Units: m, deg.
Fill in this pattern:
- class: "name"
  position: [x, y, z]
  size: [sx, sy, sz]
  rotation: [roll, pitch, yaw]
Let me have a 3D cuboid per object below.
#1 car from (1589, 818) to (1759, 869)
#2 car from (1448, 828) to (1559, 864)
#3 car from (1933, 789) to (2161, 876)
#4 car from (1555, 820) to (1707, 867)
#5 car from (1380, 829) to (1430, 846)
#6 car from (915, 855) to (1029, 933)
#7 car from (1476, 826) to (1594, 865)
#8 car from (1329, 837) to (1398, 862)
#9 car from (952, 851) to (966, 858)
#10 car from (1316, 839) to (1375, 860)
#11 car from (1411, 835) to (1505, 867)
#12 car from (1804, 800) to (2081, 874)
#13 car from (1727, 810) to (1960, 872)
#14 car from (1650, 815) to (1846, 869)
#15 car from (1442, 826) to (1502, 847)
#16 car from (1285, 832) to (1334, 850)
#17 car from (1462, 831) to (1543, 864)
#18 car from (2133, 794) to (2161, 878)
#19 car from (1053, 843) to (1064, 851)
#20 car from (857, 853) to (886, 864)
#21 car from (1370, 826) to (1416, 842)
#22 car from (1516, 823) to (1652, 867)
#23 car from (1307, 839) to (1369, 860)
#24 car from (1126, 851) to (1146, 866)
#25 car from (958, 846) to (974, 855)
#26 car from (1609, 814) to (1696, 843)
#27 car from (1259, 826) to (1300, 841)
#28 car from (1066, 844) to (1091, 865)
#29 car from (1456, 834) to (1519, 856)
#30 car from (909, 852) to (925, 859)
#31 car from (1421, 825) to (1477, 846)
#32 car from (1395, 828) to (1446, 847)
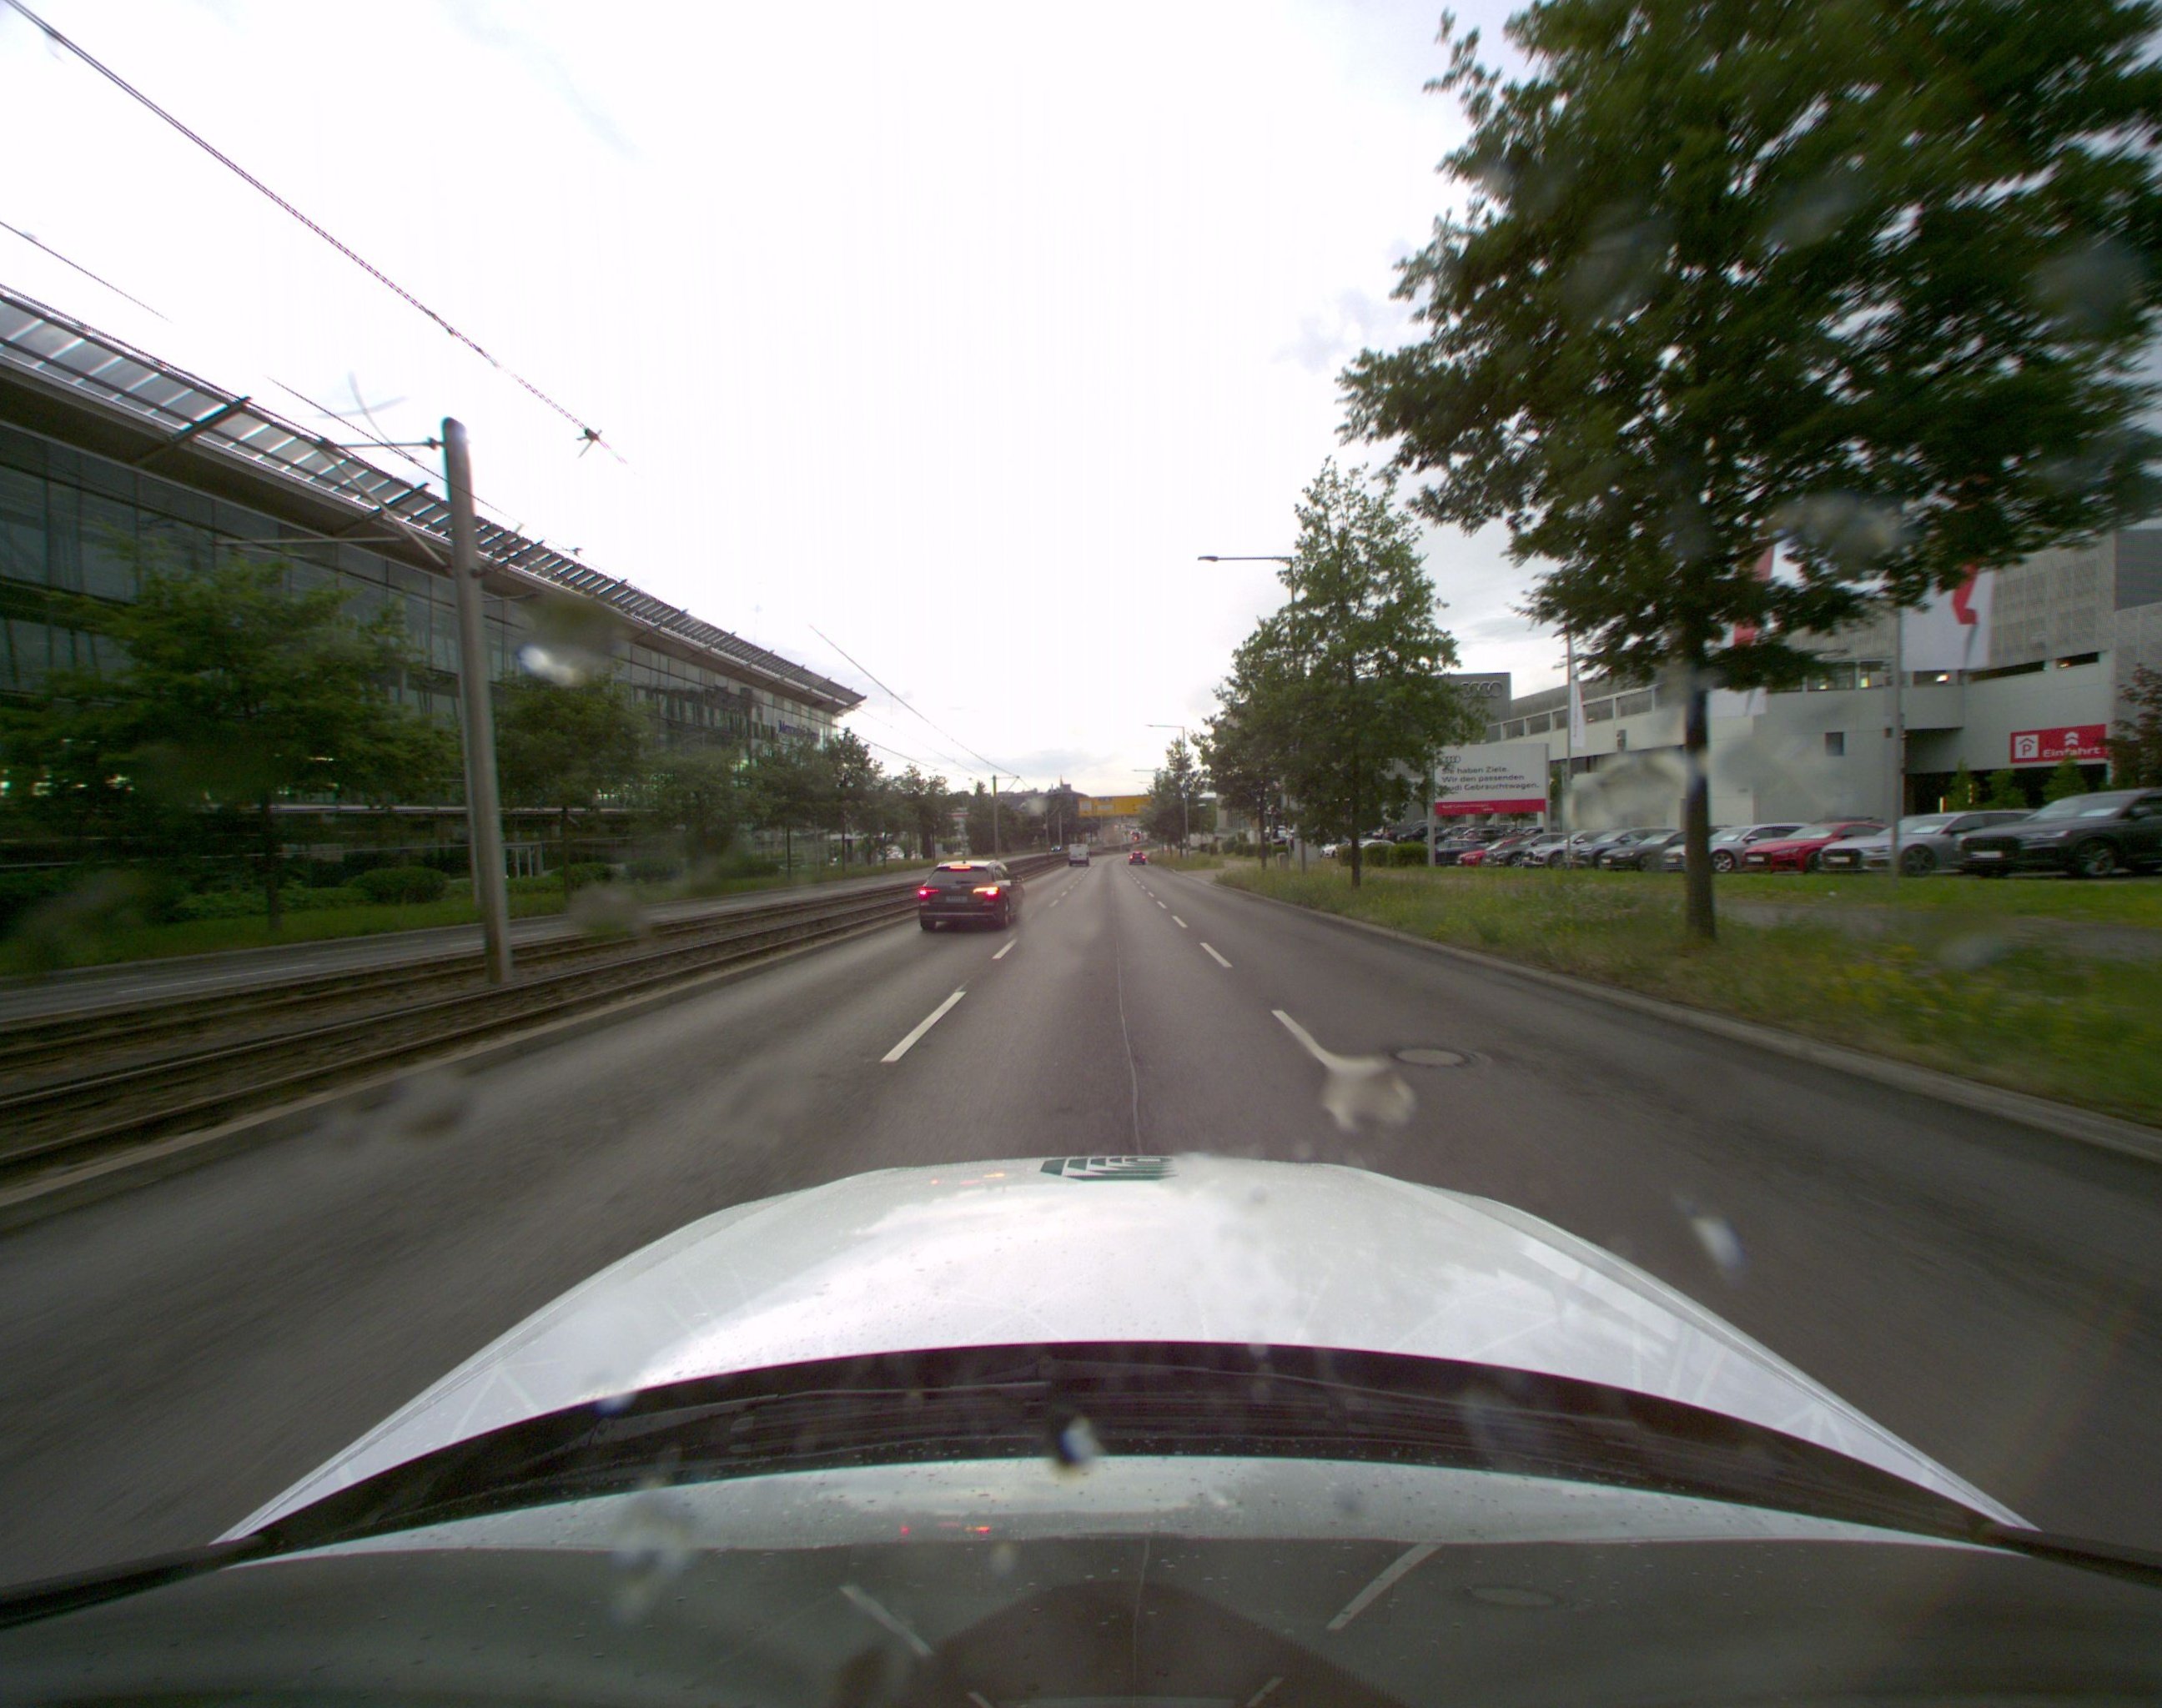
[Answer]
- class: "car"
  position: [20.427, -0.341, 28.186]
  size: [4.446, 1.456, 1.931]
  rotation: [-3, -1, 0]
- class: "car"
  position: [20.657, -0.365, 39.914]
  size: [4.451, 1.551, 1.929]
  rotation: [-2, -1, -4]
- class: "car"
  position: [20.093, -0.447, 16.049]
  size: [4.381, 1.500, 2.041]
  rotation: [-3, -1, 1]
- class: "car"
  position: [20.838, -0.373, 30.981]
  size: [4.446, 1.528, 1.931]
  rotation: [-3, -1, 0]
- class: "car"
  position: [31.311, -1.573, 78.749]
  size: [4.091, 1.574, 1.826]
  rotation: [-1, 1, 0]
- class: "car"
  position: [-2.265, 0.783, 18.137]
  size: [1.757, 1.463, 4.629]
  rotation: [0, 0, 2]
- class: "car"
  position: [20.420, -0.363, 36.726]
  size: [4.264, 1.593, 1.826]
  rotation: [-2, -1, -1]
- class: "car"
  position: [19.657, -0.288, 56.681]
  size: [4.101, 1.594, 1.944]
  rotation: [-1, -1, -7]
- class: "car"
  position: [-25.839, 0.090, 171.935]
  size: [2.002, 1.510, 3.969]
  rotation: [0, 0, -24]
- class: "car"
  position: [20.622, -0.335, 63.616]
  size: [4.091, 1.594, 1.692]
  rotation: [-1, -1, 0]
- class: "car"
  position: [20.369, -0.140, 44.145]
  size: [1.843, 1.593, 4.319]
  rotation: [-2, -1, -29]
- class: "car"
  position: [20.011, -0.365, 19.072]
  size: [4.381, 1.427, 1.891]
  rotation: [-3, -1, 1]
- class: "car"
  position: [20.320, -0.314, 21.865]
  size: [4.382, 1.348, 1.931]
  rotation: [-3, -1, 0]
- class: "car"
  position: [20.472, -0.354, 25.137]
  size: [4.446, 1.456, 1.931]
  rotation: [-2, -1, 0]
- class: "car"
  position: [31.704, -1.389, 66.083]
  size: [4.091, 1.574, 1.692]
  rotation: [-1, 0, 0]
- class: "car"
  position: [21.323, -1.204, 76.177]
  size: [4.091, 1.574, 1.693]
  rotation: [-1, 1, 0]
- class: "car"
  position: [23.310, -0.344, 45.136]
  size: [1.778, 1.593, 3.527]
  rotation: [-4, 1, -30]
- class: "car"
  position: [19.893, -0.392, 12.834]
  size: [4.307, 1.378, 1.836]
  rotation: [-3, -1, -1]
- class: "car"
  position: [-5.028, -1.474, 180.358]
  size: [1.874, 1.520, 4.409]
  rotation: [-4, 1, 4]
- class: "car"
  position: [-32.575, 0.694, 126.764]
  size: [3.979, 1.750, 1.997]
  rotation: [0, 0, -4]
- class: "car"
  position: [32.115, -2.065, 83.946]
  size: [4.091, 1.574, 1.693]
  rotation: [-1, 1, 0]
- class: "car"
  position: [20.890, -0.367, 33.964]
  size: [4.446, 1.551, 1.931]
  rotation: [-3, -1, 0]
- class: "car"
  position: [20.682, -0.358, 65.629]
  size: [4.504, 1.594, 1.692]
  rotation: [-2, -1, 0]
- class: "car"
  position: [6.141, 0.464, 91.090]
  size: [2.015, 1.623, 3.999]
  rotation: [0, 0, -1]
- class: "car"
  position: [-22.109, -0.634, 156.811]
  size: [1.983, 1.650, 4.007]
  rotation: [0, 0, 7]
- class: "car"
  position: [39.036, -1.702, 55.717]
  size: [4.505, 1.855, 2.003]
  rotation: [-1, 0, 5]
- class: "car"
  position: [22.323, -2.325, 91.721]
  size: [4.245, 1.574, 1.693]
  rotation: [-1, 1, 0]
- class: "car"
  position: [-0.250, 0.056, 85.647]
  size: [2.503, 2.177, 5.148]
  rotation: [0, 0, 0]
- class: "car"
  position: [31.670, -0.717, 63.505]
  size: [4.091, 1.574, 1.692]
  rotation: [-1, -1, 0]
- class: "car"
  position: [-33.990, 0.332, 168.788]
  size: [2.006, 1.510, 3.962]
  rotation: [0, 0, -30]
- class: "car"
  position: [32.156, -1.608, 71.190]
  size: [4.091, 1.574, 1.692]
  rotation: [-2, 0, 0]
- class: "car"
  position: [31.616, -1.551, 75.919]
  size: [4.091, 1.574, 1.693]
  rotation: [-2, 1, 0]
